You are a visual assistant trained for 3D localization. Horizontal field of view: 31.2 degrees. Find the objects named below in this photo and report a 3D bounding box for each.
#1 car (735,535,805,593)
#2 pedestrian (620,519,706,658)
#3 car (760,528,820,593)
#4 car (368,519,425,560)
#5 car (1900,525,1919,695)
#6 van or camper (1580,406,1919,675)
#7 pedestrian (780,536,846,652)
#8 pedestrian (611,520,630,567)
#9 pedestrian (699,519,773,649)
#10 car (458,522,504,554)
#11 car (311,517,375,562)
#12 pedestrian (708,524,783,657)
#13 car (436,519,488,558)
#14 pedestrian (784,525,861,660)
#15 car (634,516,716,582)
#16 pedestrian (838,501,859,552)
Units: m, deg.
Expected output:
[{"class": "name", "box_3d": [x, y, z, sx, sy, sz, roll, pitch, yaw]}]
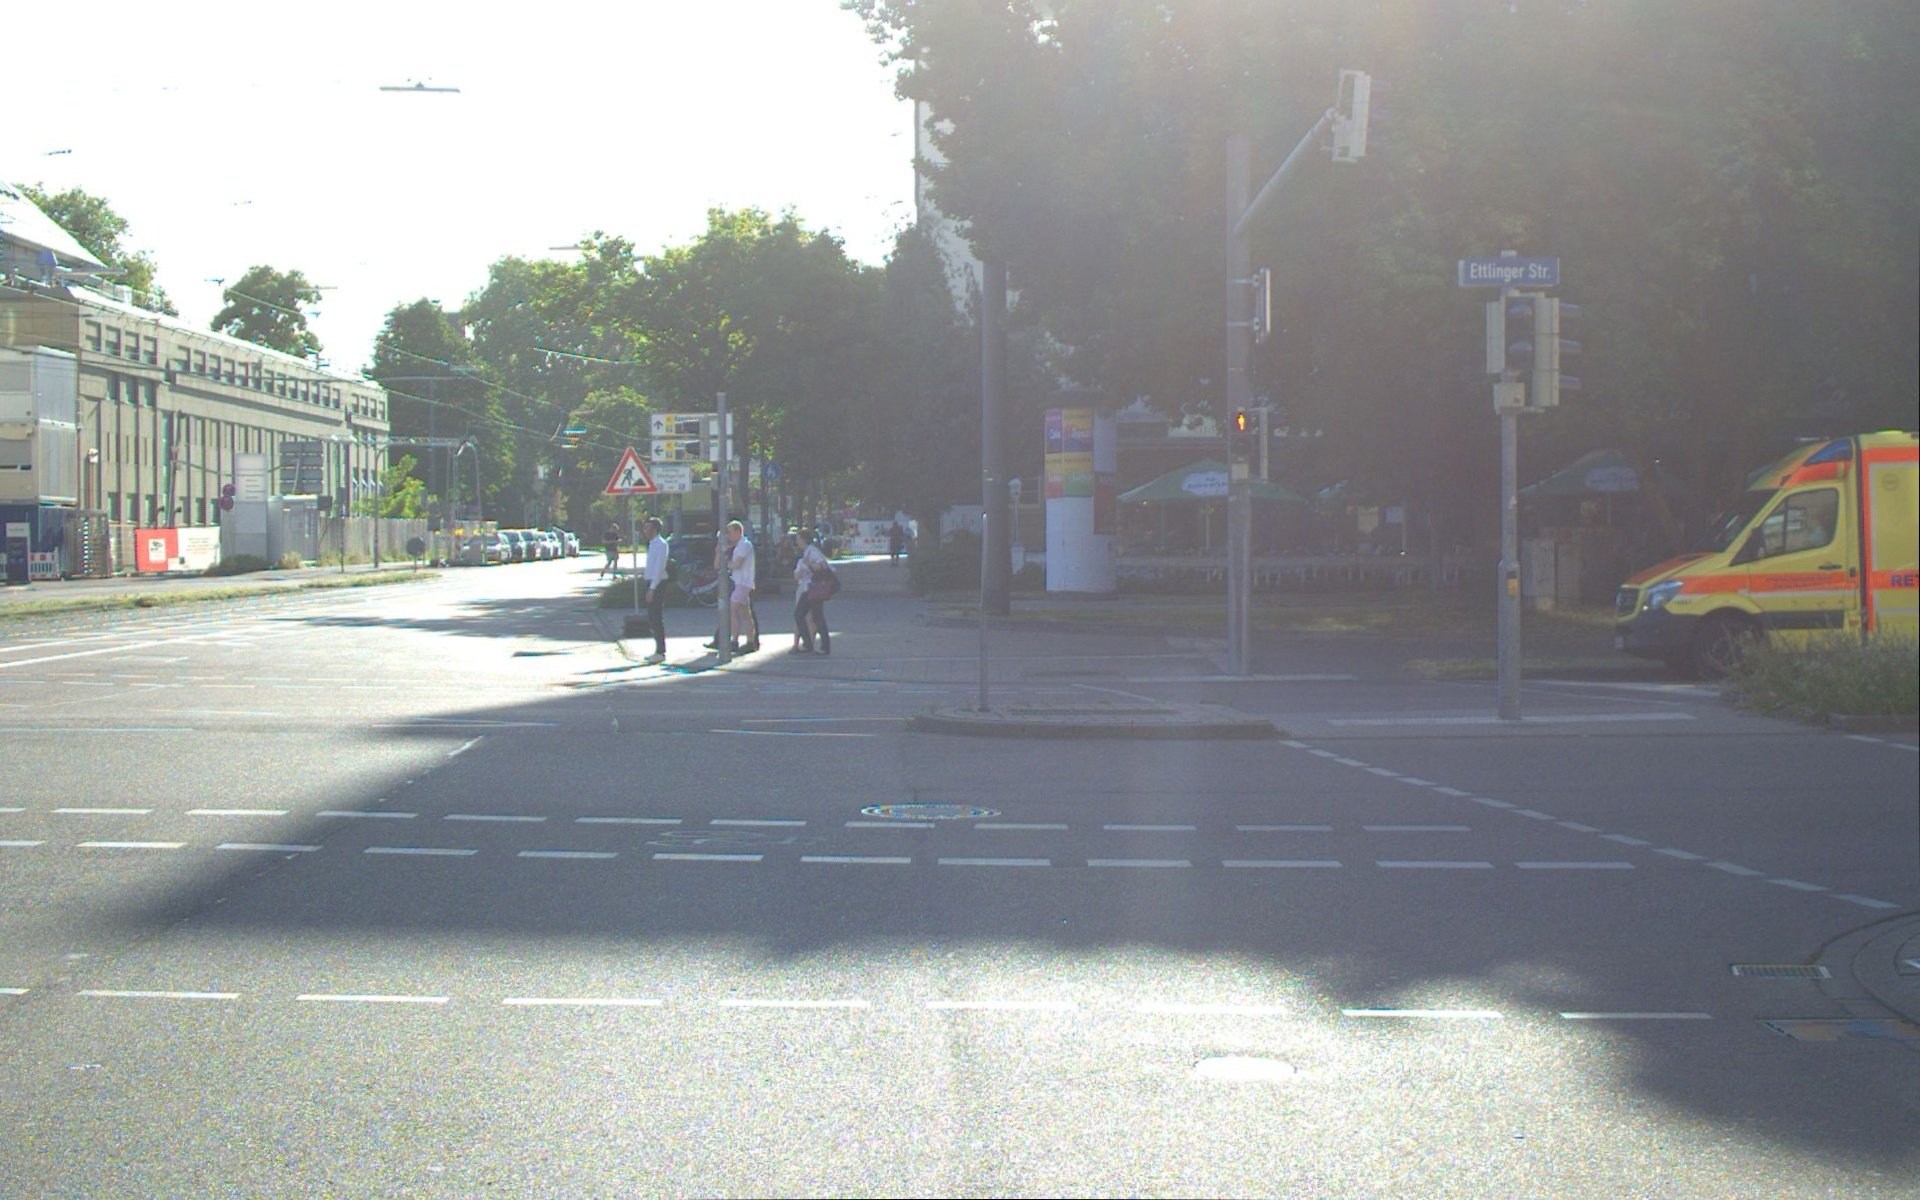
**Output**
[{"class": "car", "box_3d": [-5.076, -0.948, 92.021, 1.684, 1.495, 3.509, 1, 0, -1]}, {"class": "pedestrian", "box_3d": [-3.874, -0.157, 44.829, 0.965, 1.778, 0.780, -1, 1, -17]}, {"class": "car", "box_3d": [-5.299, -1.218, 107.632, 1.684, 1.955, 3.509, 1, 0, -1]}, {"class": "car", "box_3d": [-23.645, -2.536, 144.375, 1.819, 1.706, 3.806, 0, 1, -1]}, {"class": "car", "box_3d": [11.452, 0.149, 32.961, 4.314, 1.641, 1.888, 1, 0, 0]}, {"class": "van or camper", "box_3d": [10.565, -0.610, 38.707, 6.709, 2.852, 2.910, 1, 0, 4]}, {"class": "pedestrian", "box_3d": [-1.995, -0.089, 46.514, 0.762, 1.553, 0.588, -1, 1, -17]}, {"class": "pedestrian", "box_3d": [-10.748, -1.796, 108.915, 0.524, 1.479, 0.437, 1, 0, -2]}, {"class": "pedestrian", "box_3d": [-3.082, -0.226, 47.343, 0.847, 1.778, 0.780, -1, 1, -17]}, {"class": "car", "box_3d": [-22.286, -2.881, 160.047, 1.609, 1.493, 3.806, 0, 1, -1]}, {"class": "car", "box_3d": [-23.941, -2.349, 133.465, 1.819, 1.706, 3.806, 0, 1, -1]}, {"class": "pedestrian", "box_3d": [-2.913, -0.136, 46.555, 0.847, 1.778, 0.780, -1, 1, -17]}, {"class": "car", "box_3d": [-22.551, -2.781, 155.876, 1.819, 1.706, 3.806, 0, 1, -1]}, {"class": "pedestrian", "box_3d": [-1.830, -0.107, 45.779, 0.847, 1.778, 0.780, -1, 1, -17]}, {"class": "car", "box_3d": [-6.766, -1.194, 81.862, 1.684, 1.495, 3.509, 1, 0, -1]}, {"class": "pedestrian", "box_3d": [-7.993, -5.254, 245.937, 1.401, 3.584, 1.568, 1, 0, -1]}]
